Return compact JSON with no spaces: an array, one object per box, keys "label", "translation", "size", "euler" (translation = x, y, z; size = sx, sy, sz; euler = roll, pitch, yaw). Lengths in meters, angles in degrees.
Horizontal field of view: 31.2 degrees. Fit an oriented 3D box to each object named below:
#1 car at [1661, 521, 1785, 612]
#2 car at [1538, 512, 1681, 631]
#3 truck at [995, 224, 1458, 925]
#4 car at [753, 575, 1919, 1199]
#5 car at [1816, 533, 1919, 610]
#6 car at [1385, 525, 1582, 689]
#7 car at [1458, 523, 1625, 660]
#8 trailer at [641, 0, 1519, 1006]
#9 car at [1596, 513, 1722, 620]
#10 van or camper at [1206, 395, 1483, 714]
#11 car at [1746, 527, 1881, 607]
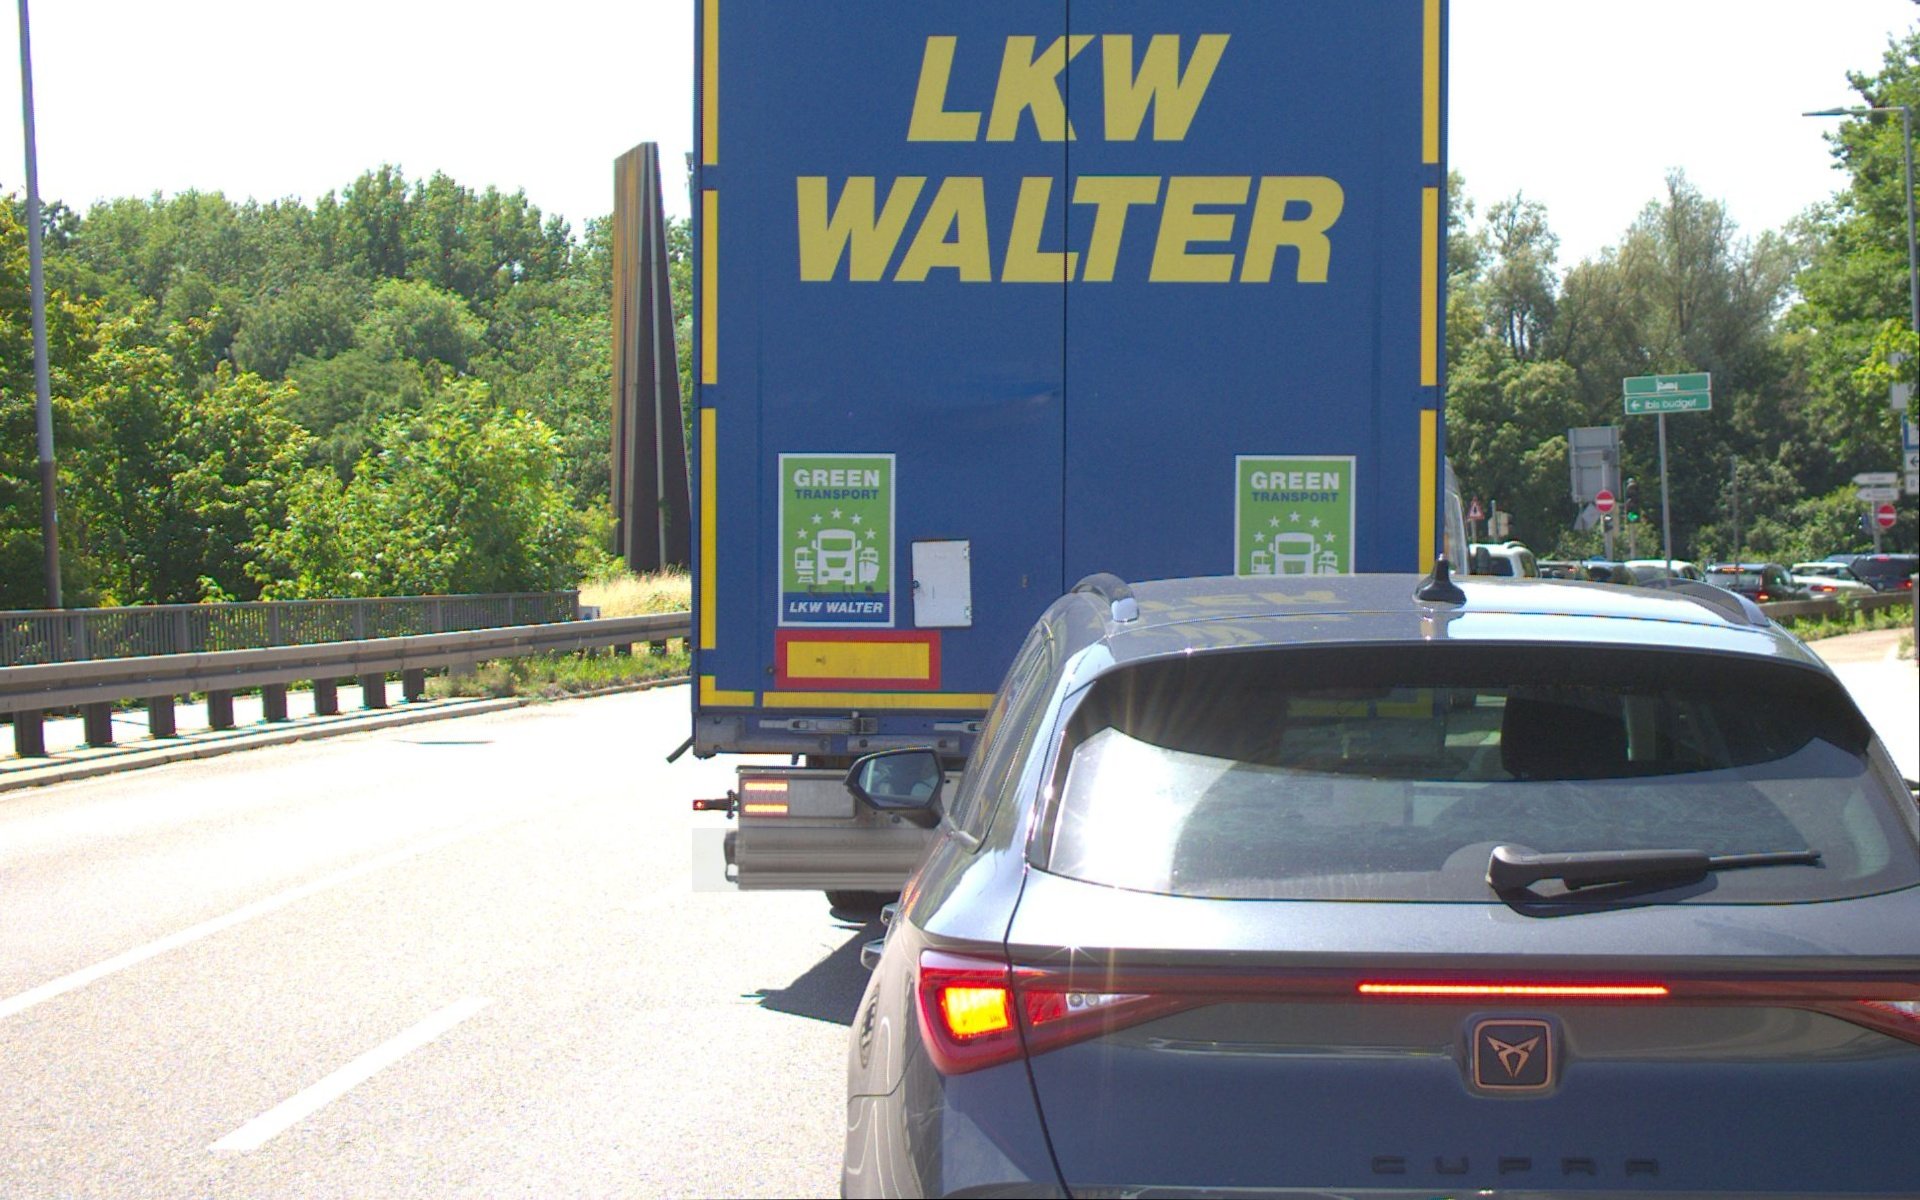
[{"label":"car","translation":[15.151,-0.656,68.143],"size":[1.687,1.754,3.995],"euler":[0,0,23]},{"label":"car","translation":[10.485,-0.489,55.296],"size":[1.722,1.837,3.996],"euler":[0,1,19]},{"label":"truck","translation":[2.090,-0.226,25.049],"size":[2.905,4.403,6.554],"euler":[0,1,7]},{"label":"car","translation":[0.661,0.698,5.935],"size":[1.677,1.451,3.958],"euler":[0,1,2]},{"label":"car","translation":[21.359,-0.662,80.366],"size":[1.688,1.754,3.994],"euler":[0,0,28]},{"label":"car","translation":[6.286,0.035,40.997],"size":[1.722,1.837,3.997],"euler":[0,2,18]},{"label":"car","translation":[8.047,-0.158,47.314],"size":[1.722,1.796,3.997],"euler":[0,1,18]},{"label":"trailer","translation":[1.149,-0.996,17.558],"size":[2.905,4.403,12.430],"euler":[0,1,7]},{"label":"car","translation":[12.539,-0.625,61.503],"size":[1.722,1.837,3.996],"euler":[0,1,19]},{"label":"van or camper","translation":[3.875,-0.461,33.614],"size":[2.155,2.806,6.384],"euler":[0,1,11]},{"label":"car","translation":[18.499,-0.691,74.388],"size":[1.996,1.570,3.994],"euler":[2,0,26]}]
